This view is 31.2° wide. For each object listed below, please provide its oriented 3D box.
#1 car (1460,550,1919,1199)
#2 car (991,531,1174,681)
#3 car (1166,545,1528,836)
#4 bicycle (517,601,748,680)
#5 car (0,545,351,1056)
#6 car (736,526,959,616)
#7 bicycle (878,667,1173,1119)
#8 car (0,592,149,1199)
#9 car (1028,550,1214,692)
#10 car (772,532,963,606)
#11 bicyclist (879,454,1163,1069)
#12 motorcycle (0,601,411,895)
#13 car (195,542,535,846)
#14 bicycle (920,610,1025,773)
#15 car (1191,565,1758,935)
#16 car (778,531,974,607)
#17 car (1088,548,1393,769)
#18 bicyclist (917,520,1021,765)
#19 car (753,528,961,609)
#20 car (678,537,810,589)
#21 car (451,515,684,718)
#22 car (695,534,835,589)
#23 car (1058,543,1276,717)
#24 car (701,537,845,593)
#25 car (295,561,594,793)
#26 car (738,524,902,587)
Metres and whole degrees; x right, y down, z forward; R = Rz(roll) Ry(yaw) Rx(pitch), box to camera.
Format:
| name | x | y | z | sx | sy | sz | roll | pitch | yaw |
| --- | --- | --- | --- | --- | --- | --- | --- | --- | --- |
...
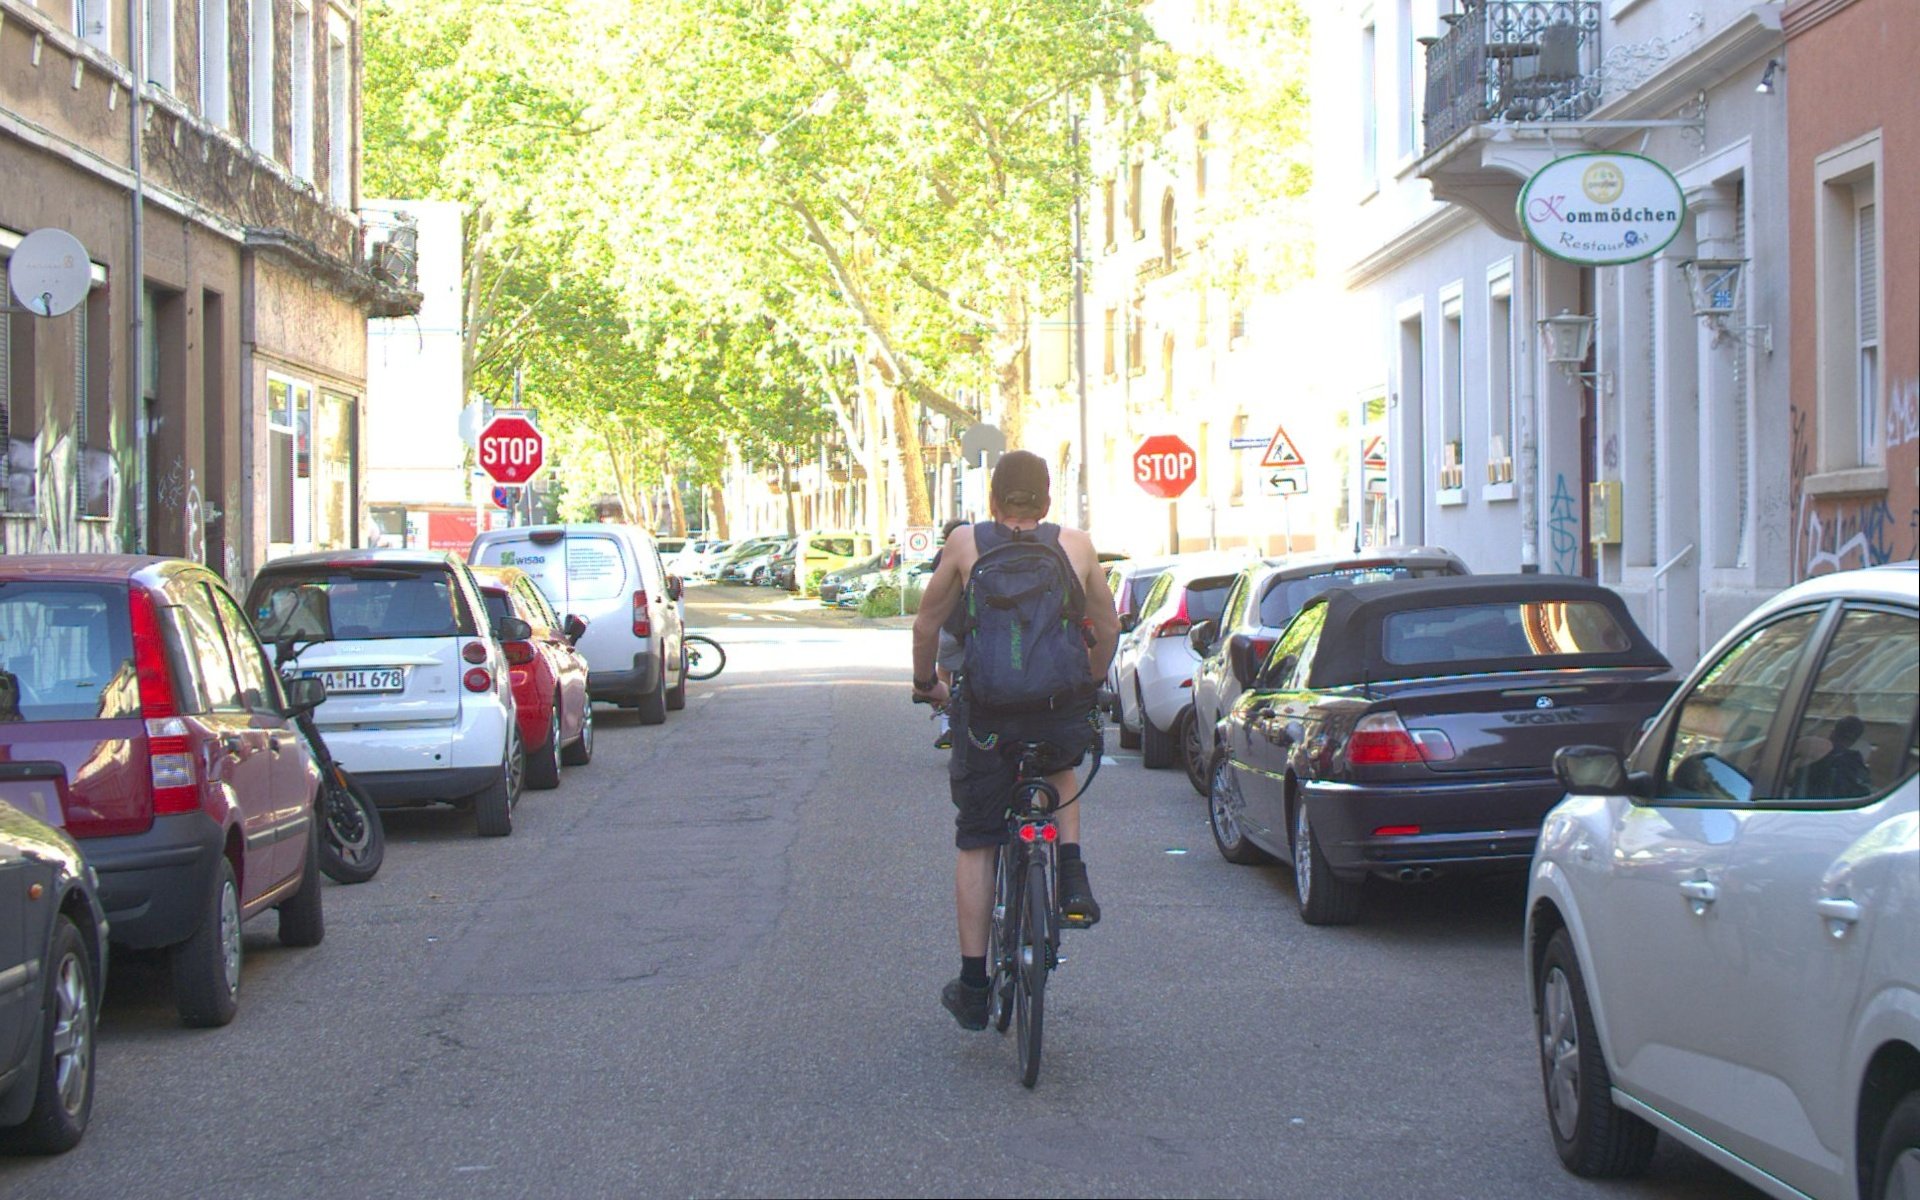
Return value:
| name | x | y | z | sx | sy | sz | roll | pitch | yaw |
| --- | --- | --- | --- | --- | --- | --- | --- | --- | --- |
| car | 2.328 | 0.640 | 7.129 | 1.731 | 1.465 | 4.022 | -1 | 1 | -4 |
| car | 1.481 | 0.037 | 43.073 | 1.893 | 1.763 | 4.001 | -1 | 1 | -3 |
| car | 2.142 | 0.442 | 19.925 | 1.592 | 1.487 | 3.876 | -1 | 1 | -1 |
| bicycle | -3.896 | 0.479 | 41.066 | 2.715 | 0.889 | 0.619 | -1 | 1 | -3 |
| car | -3.189 | 0.597 | 12.104 | 1.604 | 1.525 | 3.379 | -2 | 1 | -3 |
| car | -2.335 | -0.612 | 70.935 | 4.468 | 1.753 | 1.867 | -1 | 1 | -5 |
| bicycle | 0.147 | 0.786 | 10.005 | 0.740 | 1.097 | 2.042 | 1 | 1 | -2 |
| car | -3.019 | 0.736 | 7.147 | 1.706 | 1.409 | 4.302 | -1 | 1 | -1 |
| car | 1.737 | 0.196 | 38.062 | 1.686 | 1.466 | 3.575 | -1 | 1 | -3 |
| car | -2.243 | -0.758 | 82.970 | 4.468 | 1.690 | 1.867 | -1 | 1 | -5 |
| bicyclist | 0.155 | 0.434 | 9.977 | 0.740 | 1.673 | 1.117 | 1 | 1 | -2 |
| motorcycle | -3.464 | 0.652 | 15.726 | 1.795 | 1.251 | 0.710 | -1 | 1 | -15 |
| car | -3.282 | 0.453 | 19.478 | 1.544 | 1.545 | 3.466 | -1 | 1 | -4 |
| bicycle | 0.072 | 0.611 | 23.866 | 0.664 | 1.034 | 1.959 | -1 | 1 | -1 |
| car | 2.078 | 0.542 | 14.944 | 1.657 | 1.334 | 4.001 | -1 | 1 | -3 |
| car | -1.990 | -0.741 | 80.660 | 4.468 | 1.690 | 1.867 | -1 | 1 | -5 |
| car | 1.985 | 0.369 | 25.381 | 1.710 | 1.465 | 4.001 | -1 | 1 | -3 |
| bicyclist | 0.056 | 0.281 | 23.798 | 0.669 | 1.653 | 0.877 | -1 | 1 | -1 |
| car | -2.292 | -0.713 | 76.080 | 4.468 | 1.690 | 1.867 | -1 | 1 | -5 |
| car | -7.478 | -1.285 | 118.859 | 4.468 | 1.690 | 1.867 | -1 | 1 | -5 |
| car | -3.550 | 0.110 | 31.675 | 1.787 | 1.731 | 3.876 | -1 | 1 | -2 |
| car | -6.356 | -1.256 | 111.792 | 4.468 | 1.690 | 1.867 | -1 | 1 | -5 |
| car | 1.901 | 0.238 | 32.488 | 1.652 | 1.525 | 3.575 | -1 | 1 | -3 |
| car | -5.947 | -1.110 | 108.940 | 4.468 | 1.690 | 1.867 | -1 | 1 | -5 |
| car | -3.404 | 0.457 | 23.242 | 1.552 | 1.395 | 3.668 | -1 | 1 | -2 |
| car | -3.927 | -1.249 | 95.984 | 4.468 | 1.690 | 1.867 | -1 | 1 | -5 |
